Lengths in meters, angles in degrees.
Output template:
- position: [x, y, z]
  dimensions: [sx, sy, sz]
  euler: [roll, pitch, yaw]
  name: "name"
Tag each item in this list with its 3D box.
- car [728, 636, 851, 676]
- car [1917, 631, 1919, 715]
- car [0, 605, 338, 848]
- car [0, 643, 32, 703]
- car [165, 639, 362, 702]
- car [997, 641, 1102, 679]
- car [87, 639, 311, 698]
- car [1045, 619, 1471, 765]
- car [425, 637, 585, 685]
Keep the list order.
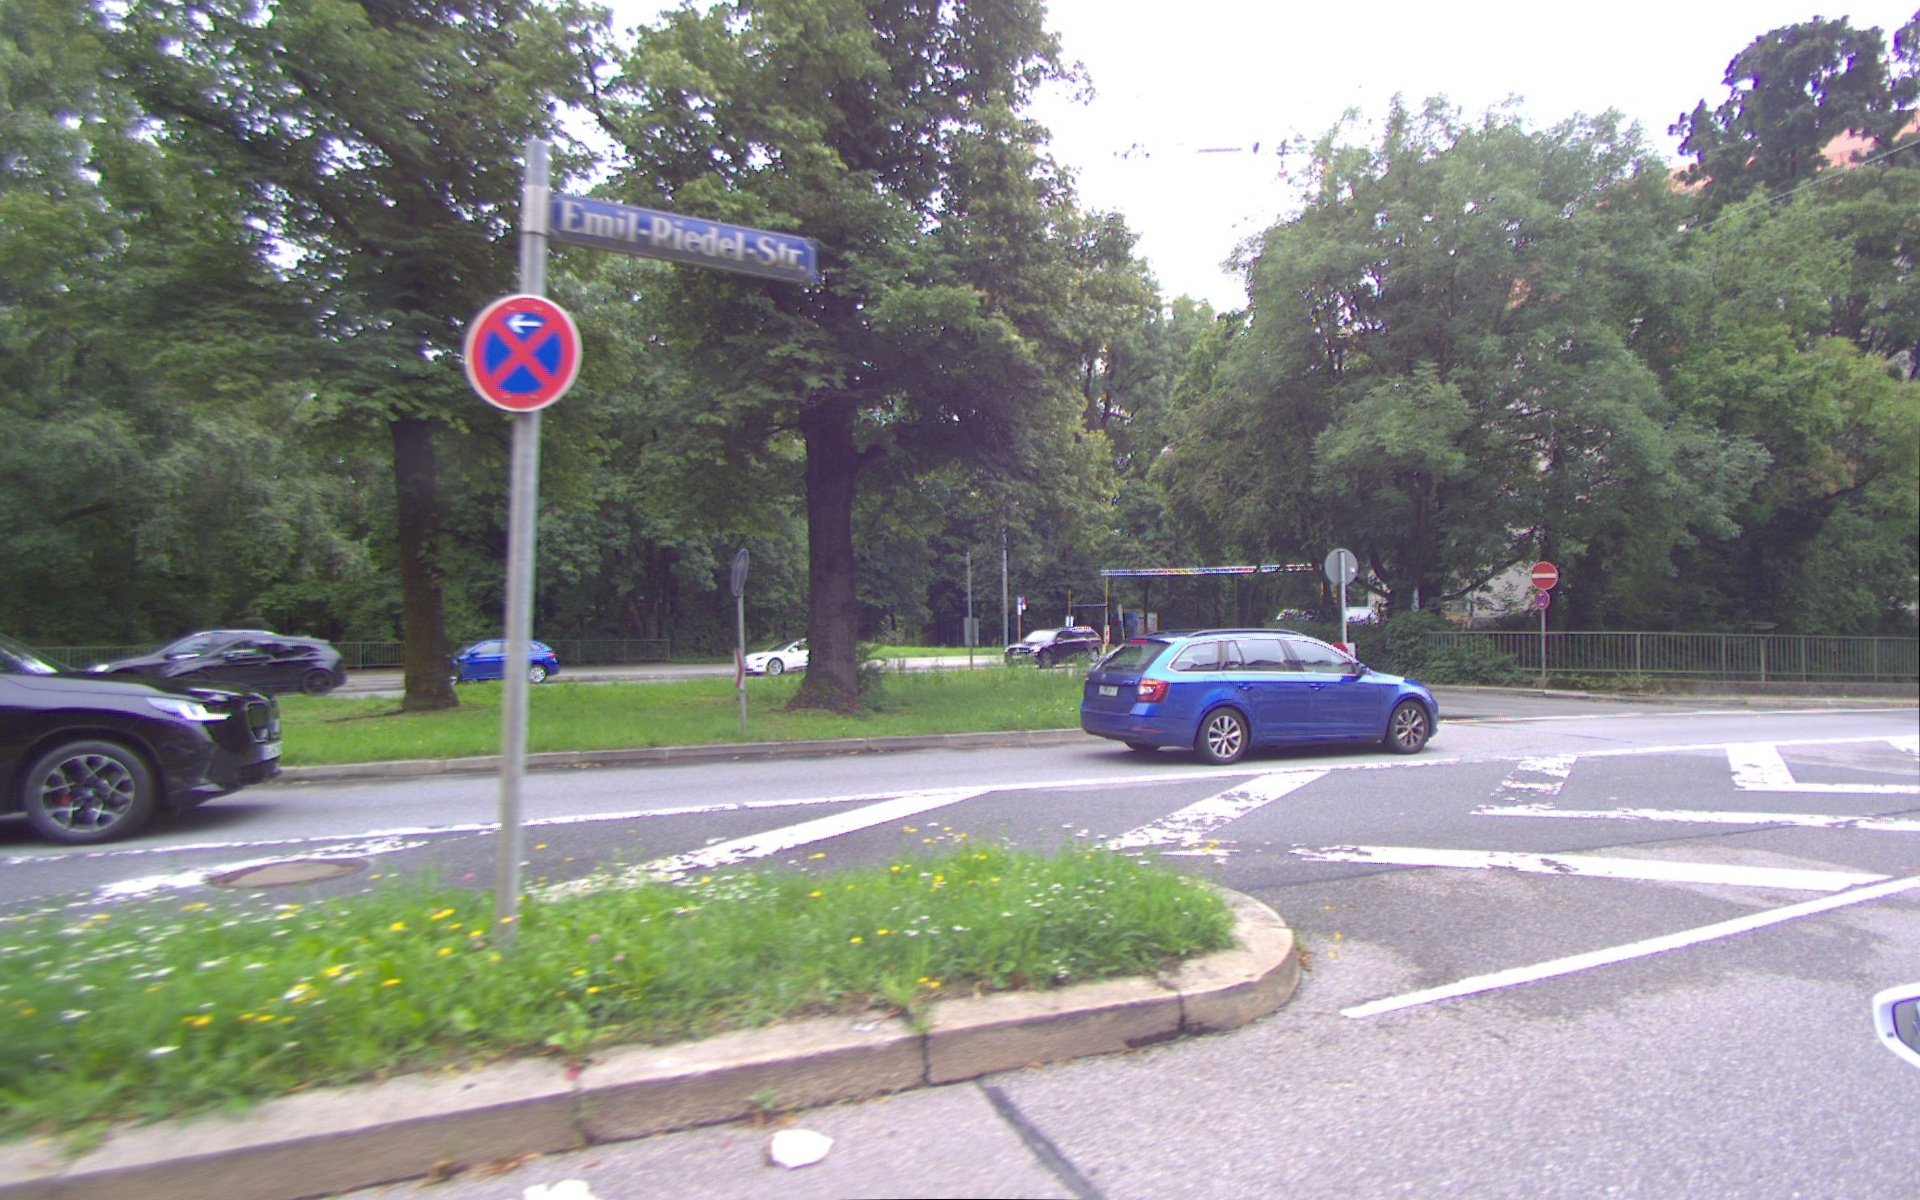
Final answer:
- position: [-6.617, 2.159, 39.252]
  dimensions: [4.389, 1.465, 1.977]
  euler: [2, -4, -41]
  name: "car"
- position: [19.246, 1.301, 17.872]
  dimensions: [4.016, 1.480, 1.755]
  euler: [1, -2, -23]
  name: "car"
- position: [-7.475, 0.893, 7.254]
  dimensions: [4.760, 1.607, 1.910]
  euler: [1, -4, -22]
  name: "car"
- position: [-25.288, 1.787, 24.091]
  dimensions: [4.283, 1.465, 1.977]
  euler: [2, -4, -40]
  name: "car"
- position: [-17.877, 1.761, 25.873]
  dimensions: [4.002, 1.465, 1.875]
  euler: [1, -3, -41]
  name: "car"
- position: [3.736, 2.450, 41.620]
  dimensions: [4.354, 1.465, 1.875]
  euler: [1, -3, -41]
  name: "car"
- position: [-20.642, 1.815, 27.417]
  dimensions: [4.730, 1.465, 1.977]
  euler: [2, -4, -40]
  name: "car"
- position: [3.539, 1.003, 11.997]
  dimensions: [4.664, 1.473, 1.984]
  euler: [1, -2, -22]
  name: "car"
- position: [-14.738, 1.942, 32.679]
  dimensions: [4.389, 1.465, 1.977]
  euler: [2, -4, -41]
  name: "car"
